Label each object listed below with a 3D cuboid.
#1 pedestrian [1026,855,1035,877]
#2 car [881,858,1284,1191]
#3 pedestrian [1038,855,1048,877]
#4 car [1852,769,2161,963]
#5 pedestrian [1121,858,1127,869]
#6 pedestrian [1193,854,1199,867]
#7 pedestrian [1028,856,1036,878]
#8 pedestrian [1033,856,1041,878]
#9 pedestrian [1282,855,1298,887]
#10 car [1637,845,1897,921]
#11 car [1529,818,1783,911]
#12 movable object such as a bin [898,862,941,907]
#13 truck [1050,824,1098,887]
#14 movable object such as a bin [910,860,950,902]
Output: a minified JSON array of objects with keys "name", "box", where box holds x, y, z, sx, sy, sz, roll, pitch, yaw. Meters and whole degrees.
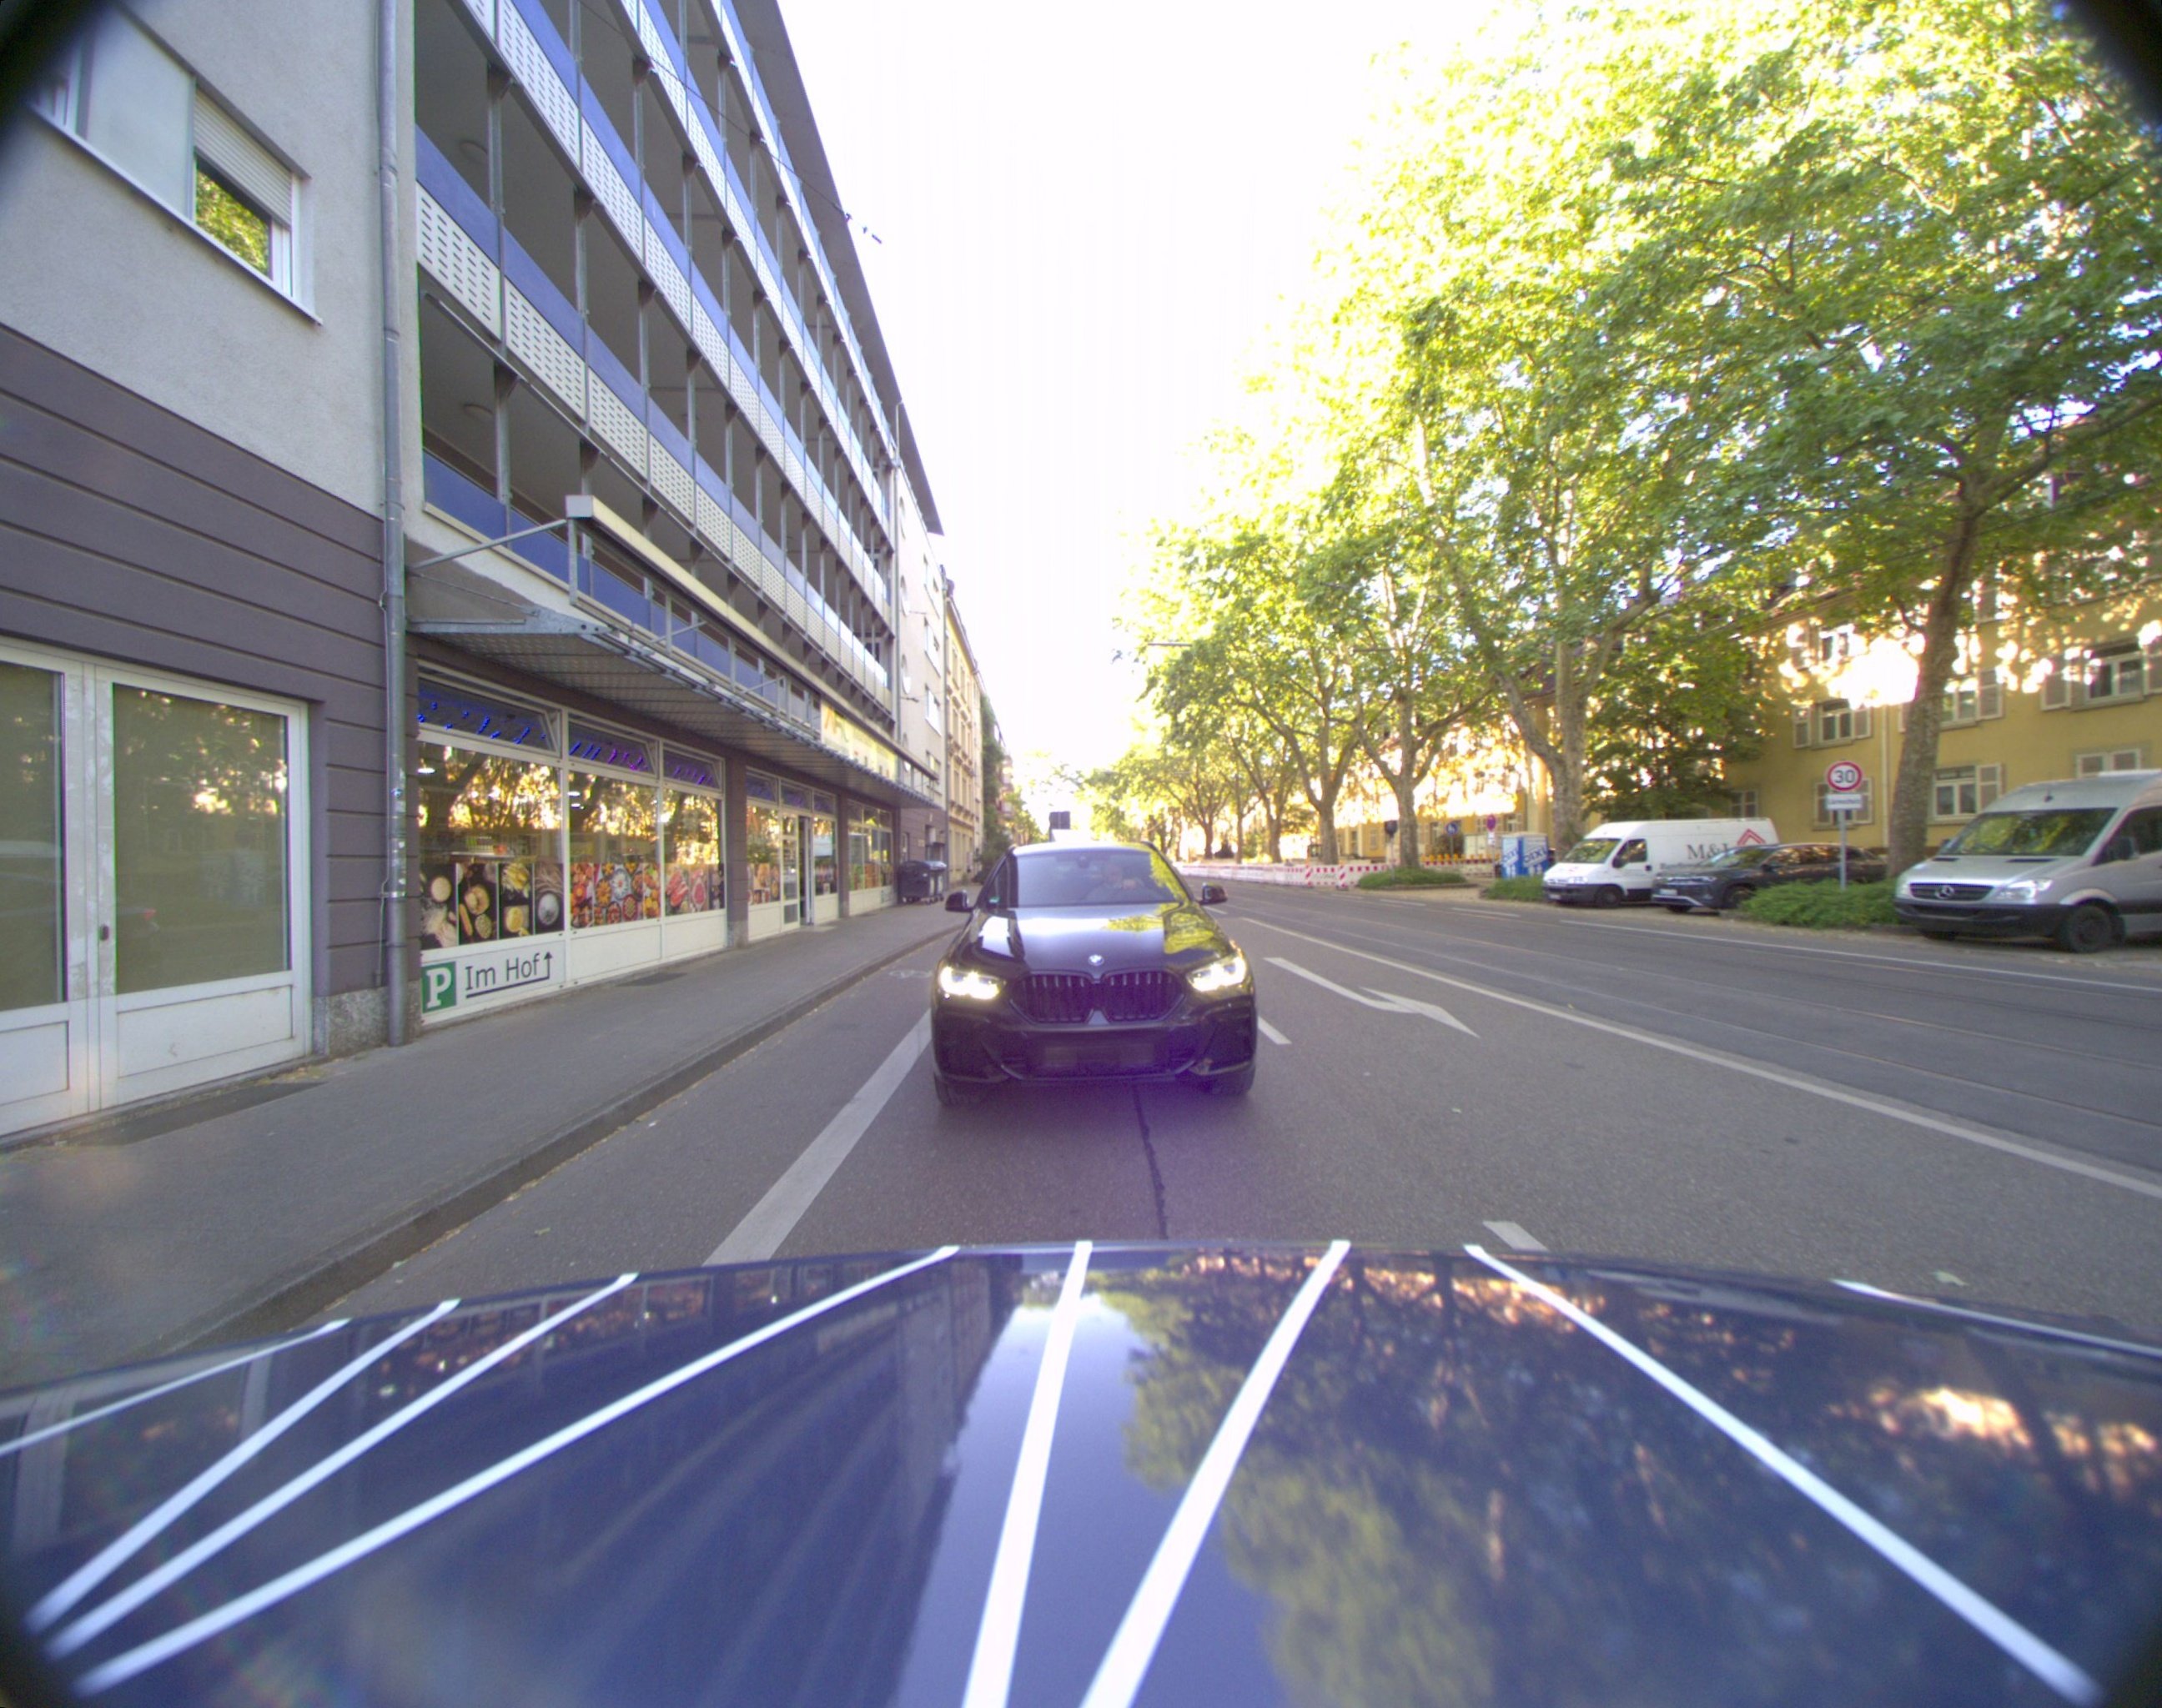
[{"name":"pedestrian","box":[-4.490,1.080,67.455,0.733,1.875,0.664,-2,1,-1]},{"name":"car","box":[0.036,0.869,5.973,1.998,1.643,4.295,-1,0,1]},{"name":"pedestrian","box":[-3.318,1.030,66.685,0.733,1.875,0.664,-2,1,-1]},{"name":"car","box":[15.978,0.122,11.874,5.666,2.666,2.223,-2,0,-2]},{"name":"pedestrian","box":[7.344,1.608,129.800,0.733,1.875,0.741,-2,1,-1]},{"name":"pedestrian","box":[16.233,0.888,107.374,0.732,1.875,0.665,-2,1,8]},{"name":"pedestrian","box":[-4.253,1.091,65.616,0.600,1.875,0.581,-2,1,-1]},{"name":"pedestrian","box":[-3.784,1.083,64.772,0.600,1.875,0.581,-2,1,-1]},{"name":"pedestrian","box":[11.929,0.962,43.296,0.652,1.735,0.582,-2,1,-8]},{"name":"car","box":[16.071,0.651,17.957,4.627,1.642,1.774,-1,0,-2]},{"name":"car","box":[15.838,0.283,21.164,5.404,2.362,2.223,-1,0,0]},{"name":"movable object such as a bin","box":[-5.226,0.983,24.662,1.158,1.418,0.939,-1,0,1]},{"name":"truck","box":[-0.323,0.113,42.161,2.394,3.170,6.587,-2,0,1]},{"name":"movable object such as a bin","box":[-5.290,0.947,26.700,1.158,1.418,0.939,-1,0,1]}]
